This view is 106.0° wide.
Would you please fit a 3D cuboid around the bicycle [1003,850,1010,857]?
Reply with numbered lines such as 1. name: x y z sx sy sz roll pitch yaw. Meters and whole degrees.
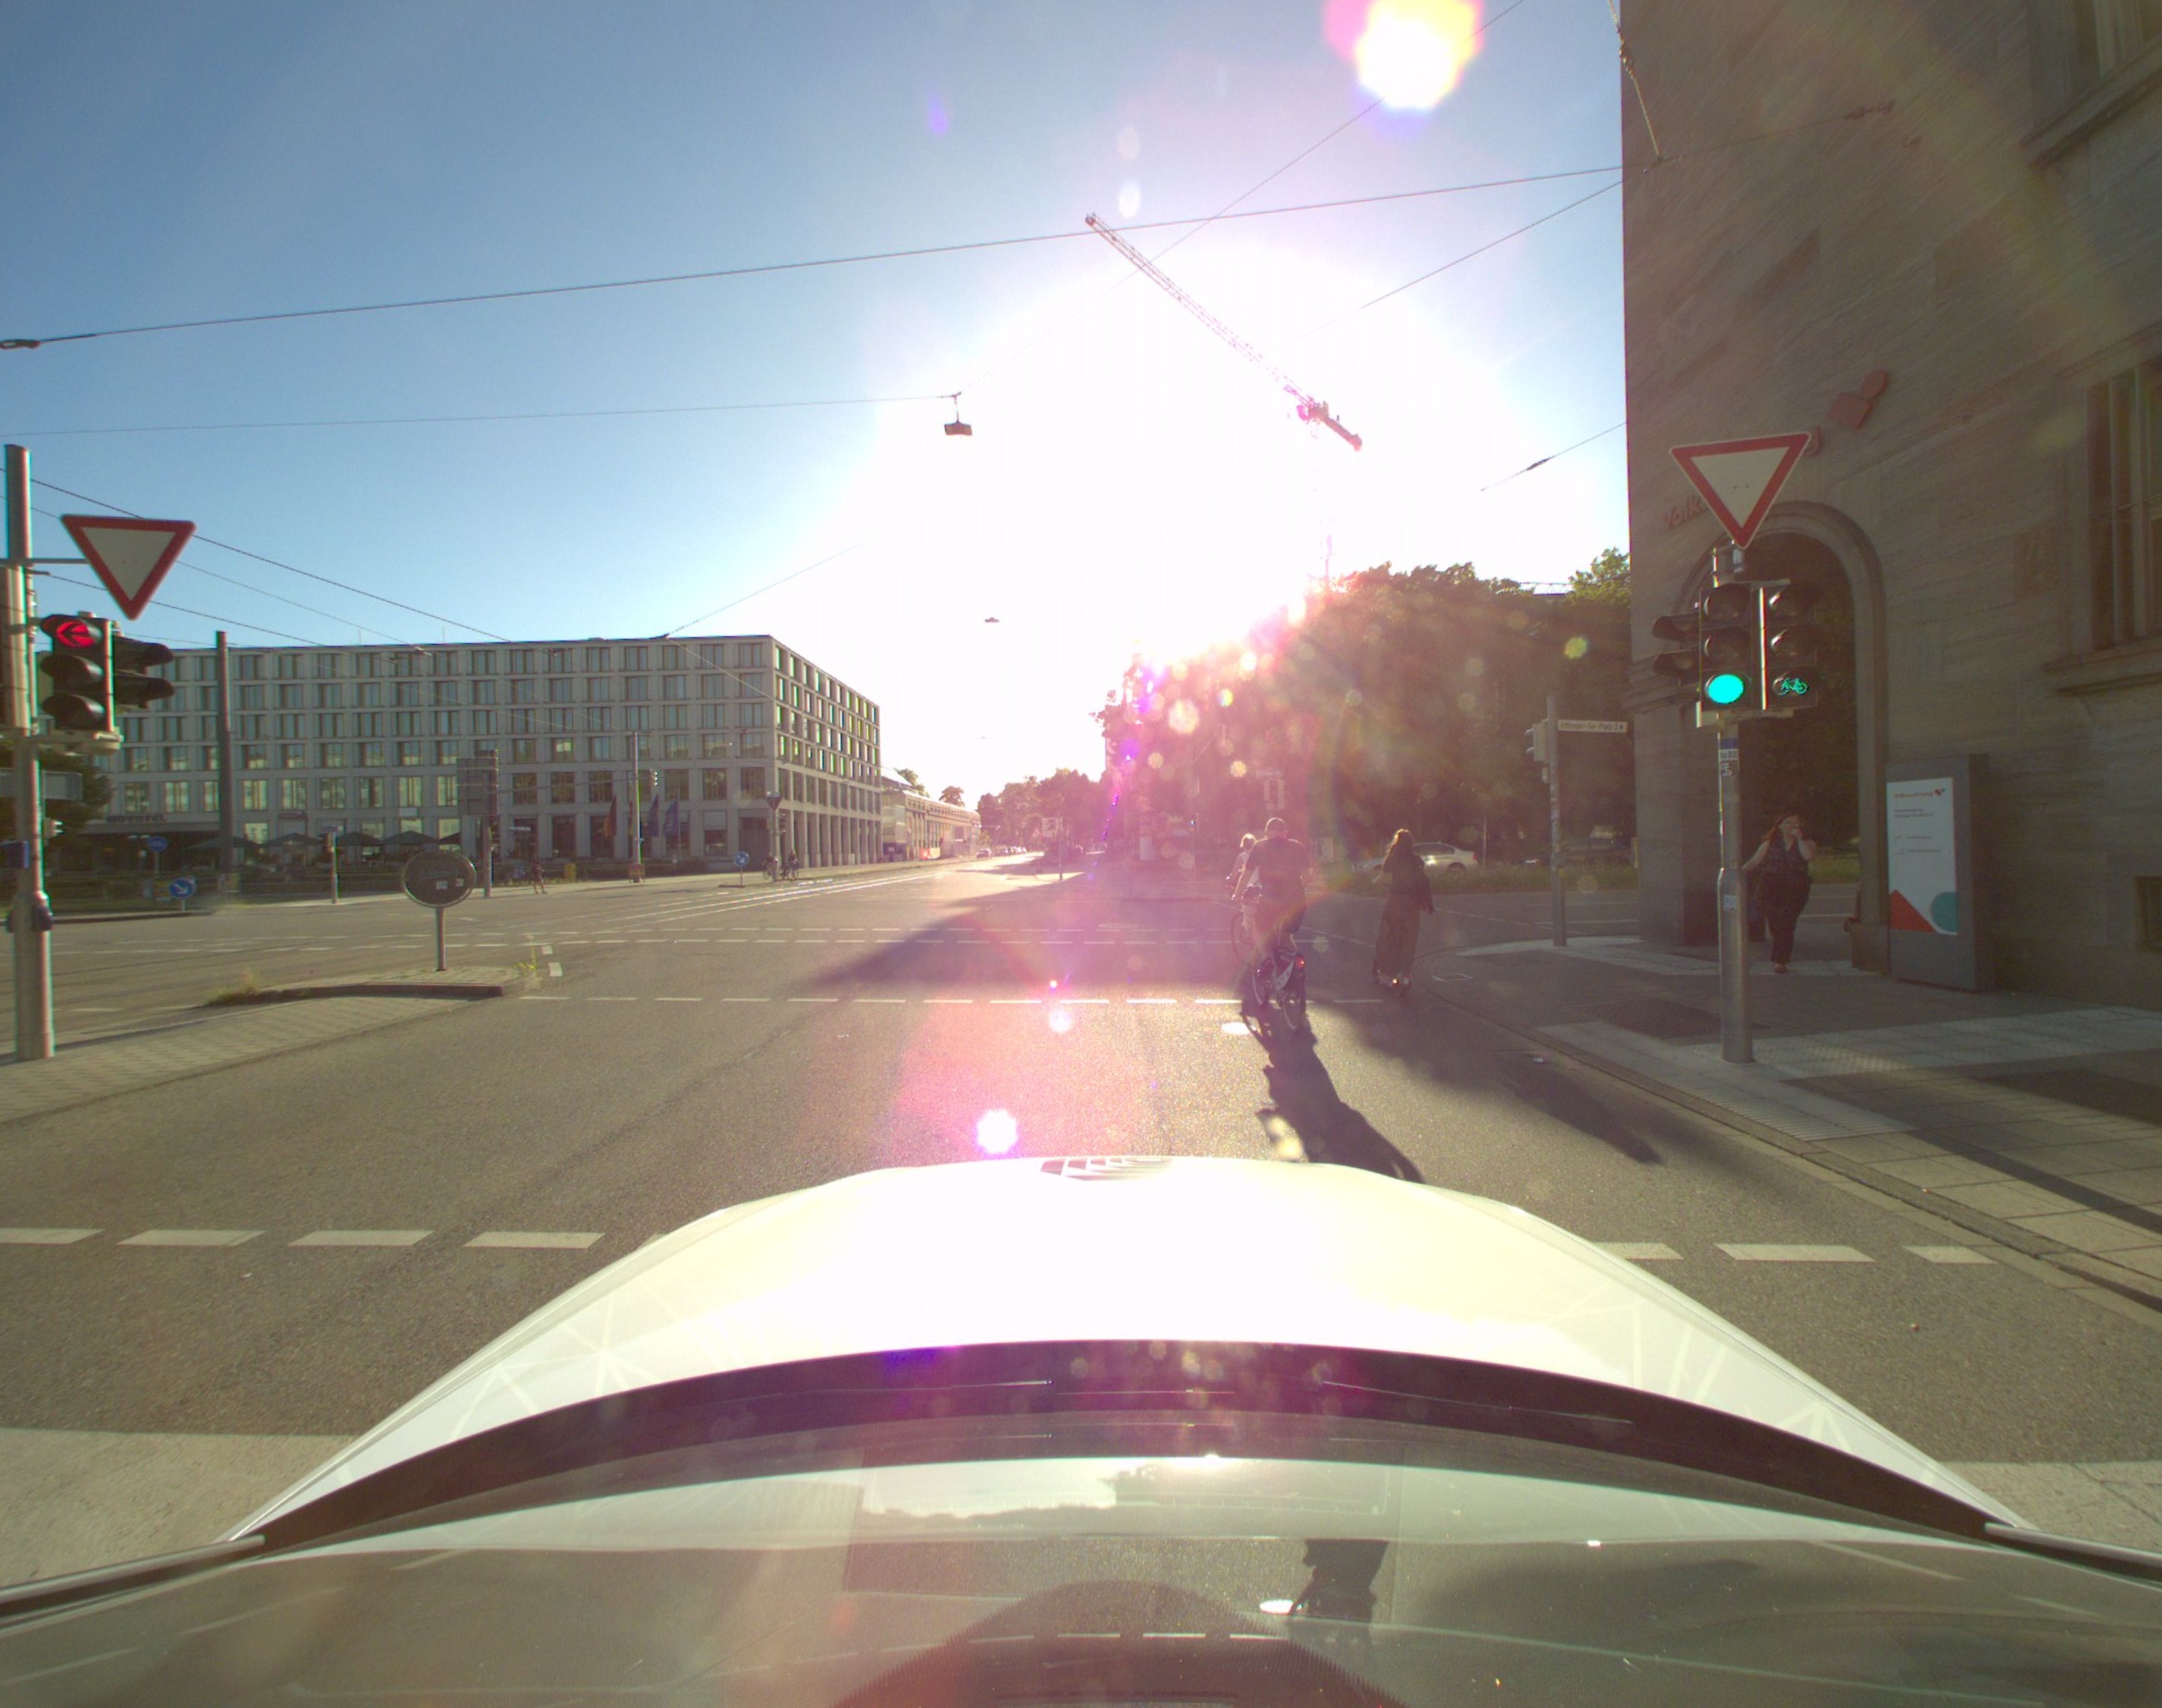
1. bicycle: -12.378 -0.133 135.722 0.748 1.205 3.108 0 0 1

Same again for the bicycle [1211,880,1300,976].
1. bicycle: 2.188 0.897 10.428 0.581 1.044 1.743 -2 0 -6

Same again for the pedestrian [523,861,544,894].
1. pedestrian: -28.391 1.210 42.224 0.599 1.681 0.609 -2 0 17

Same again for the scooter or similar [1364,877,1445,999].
1. scooter or similar: 3.433 0.852 8.726 0.569 1.149 1.276 0 0 11

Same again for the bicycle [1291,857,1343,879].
1. bicycle: 9.604 0.563 33.157 1.932 0.889 0.719 -1 0 8

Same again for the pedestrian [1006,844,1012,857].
1. pedestrian: -11.429 -0.560 129.701 0.746 2.063 1.052 0 0 7

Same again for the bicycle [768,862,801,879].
1. bicycle: -15.120 0.849 41.490 1.696 0.823 0.577 -1 0 29

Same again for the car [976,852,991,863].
1. car: -15.953 0.560 133.226 1.988 1.599 3.999 -2 1 -1

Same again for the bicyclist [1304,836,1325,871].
1. bicyclist: 9.511 0.000 33.166 0.742 1.406 0.704 0 0 8

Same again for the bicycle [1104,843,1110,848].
1. bicycle: 6.336 -2.055 197.426 0.890 1.219 2.784 0 0 -9

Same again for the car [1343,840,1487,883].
1. car: 12.329 0.261 30.287 4.559 1.516 2.001 0 0 1

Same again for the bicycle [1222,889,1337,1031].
1. bicycle: 1.759 0.900 7.472 0.621 1.044 1.747 -2 0 1

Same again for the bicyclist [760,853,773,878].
1. bicyclist: -19.486 0.694 50.488 0.492 1.498 0.667 -2 0 4

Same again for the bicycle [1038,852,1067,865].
1. bicycle: -2.229 0.385 64.294 2.240 0.940 0.653 -2 0 -4

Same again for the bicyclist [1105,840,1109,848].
1. bicyclist: 6.360 -2.458 197.327 0.891 2.013 0.746 0 0 -10

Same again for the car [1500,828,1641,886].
1. car: 17.776 0.116 29.732 3.970 2.013 2.002 0 0 3

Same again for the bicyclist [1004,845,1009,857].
1. bicyclist: -12.382 -0.483 135.812 0.748 1.920 1.215 0 0 1

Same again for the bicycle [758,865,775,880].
1. bicycle: -19.466 1.145 50.477 0.492 0.839 1.158 -2 0 4

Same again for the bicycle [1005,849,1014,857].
1. bicycle: -11.423 -0.185 129.632 0.746 1.205 3.114 0 0 7

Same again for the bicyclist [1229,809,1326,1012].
1. bicyclist: 1.757 0.480 7.399 0.621 1.715 0.913 -2 0 0

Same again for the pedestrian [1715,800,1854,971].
1. pedestrian: 7.101 0.302 8.256 0.594 1.607 0.813 -5 0 1

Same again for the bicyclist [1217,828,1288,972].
1. bicyclist: 2.173 0.554 10.389 0.583 1.738 0.948 -2 0 -6

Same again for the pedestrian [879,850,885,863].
1. pedestrian: -27.674 0.357 113.156 0.583 1.889 0.480 0 0 19

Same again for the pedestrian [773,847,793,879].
1. pedestrian: -15.170 0.459 41.503 0.735 1.595 0.577 -2 0 29

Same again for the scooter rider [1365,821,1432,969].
1. scooter rider: 3.448 0.435 8.880 0.541 1.562 0.578 -1 0 9

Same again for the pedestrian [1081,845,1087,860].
1. pedestrian: 0.354 -0.166 94.641 0.576 1.689 0.584 -2 0 -6
